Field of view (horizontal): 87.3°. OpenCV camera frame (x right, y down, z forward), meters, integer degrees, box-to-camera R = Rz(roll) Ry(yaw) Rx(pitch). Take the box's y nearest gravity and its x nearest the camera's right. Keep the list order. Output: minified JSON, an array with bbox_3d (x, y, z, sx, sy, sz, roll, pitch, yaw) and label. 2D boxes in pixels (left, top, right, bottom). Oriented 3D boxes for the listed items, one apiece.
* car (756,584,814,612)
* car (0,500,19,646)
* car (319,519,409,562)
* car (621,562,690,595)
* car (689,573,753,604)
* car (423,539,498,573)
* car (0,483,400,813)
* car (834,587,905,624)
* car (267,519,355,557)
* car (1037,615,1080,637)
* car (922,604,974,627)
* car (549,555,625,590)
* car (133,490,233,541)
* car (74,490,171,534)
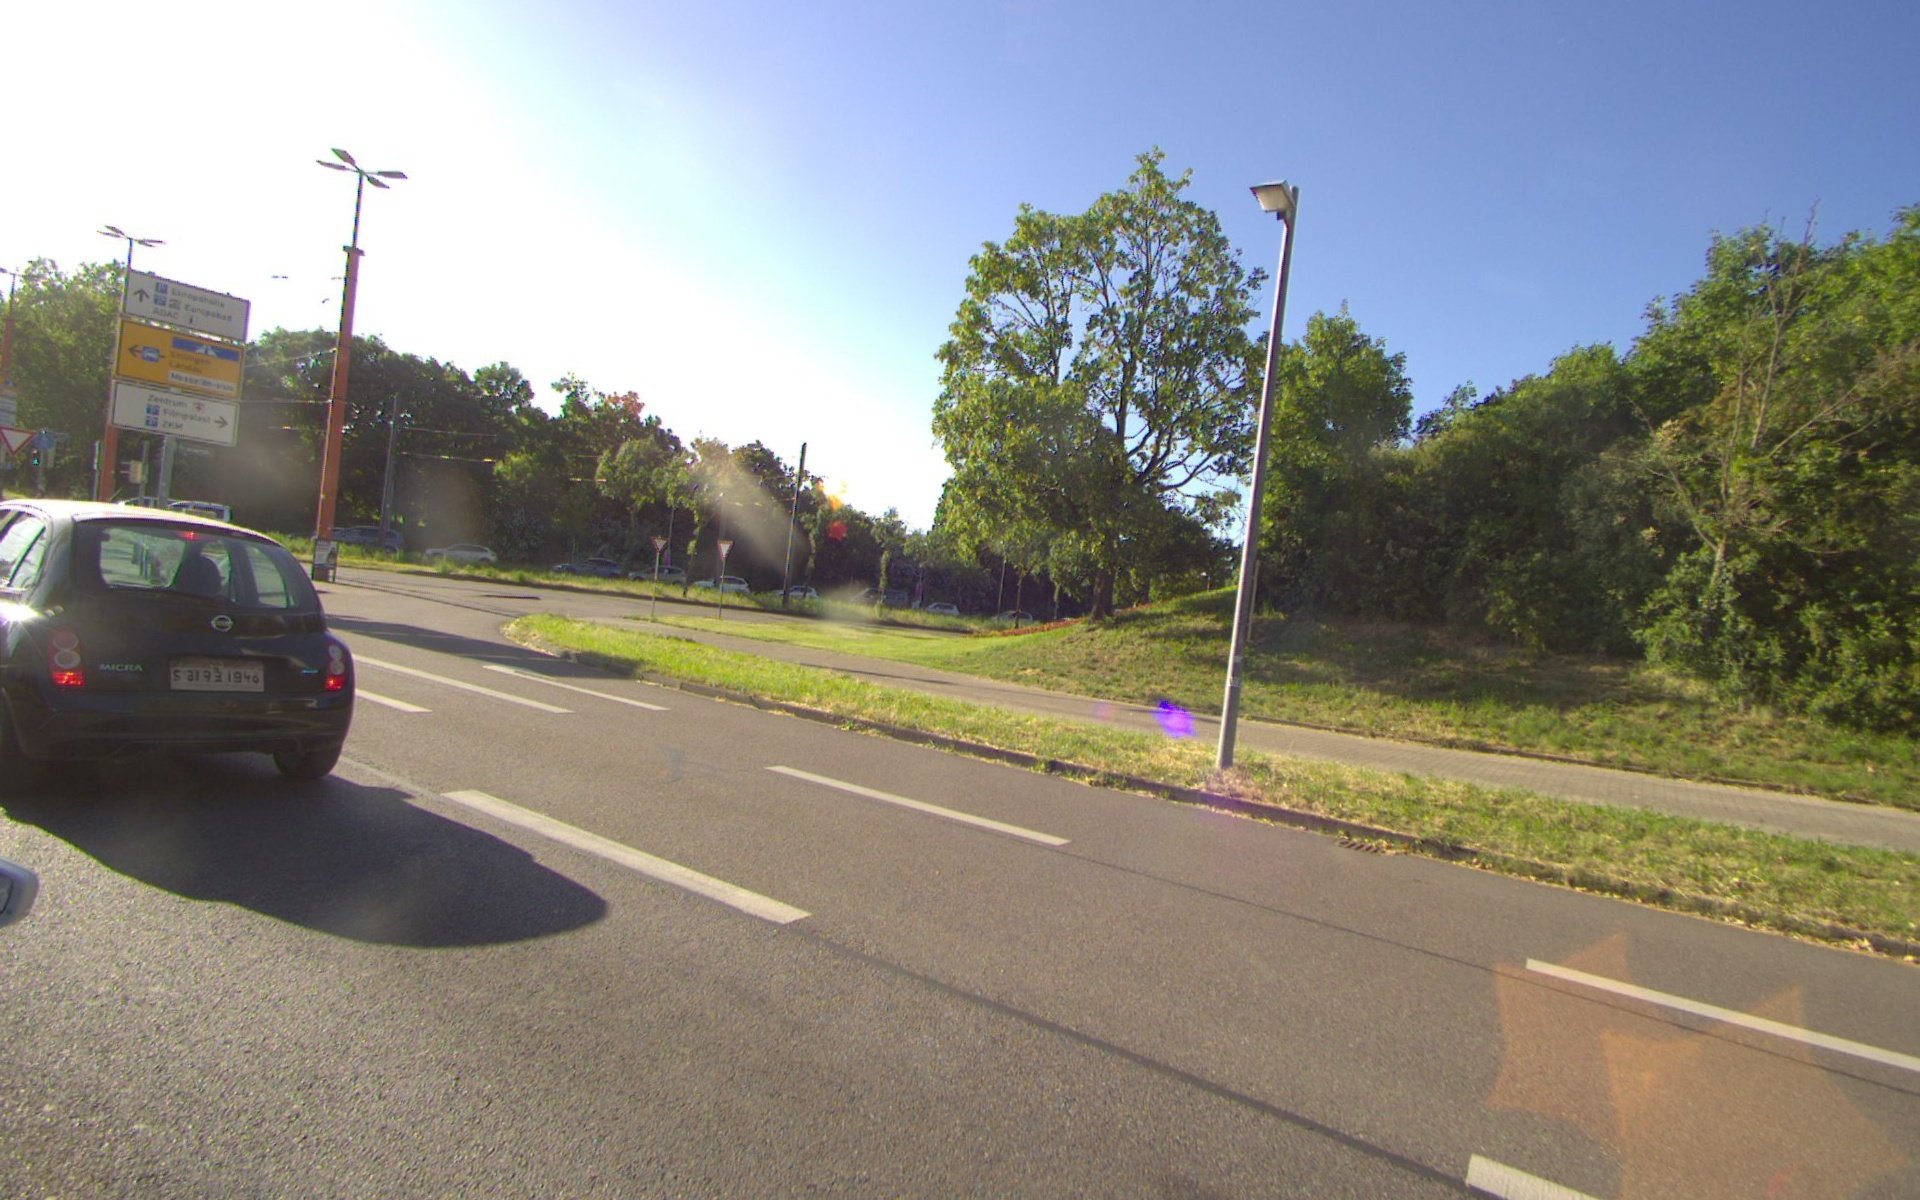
[{"bbox_3d":[-12.640,-0.152,72.730,3.708,1.491,1.588,8,-1,-31],"label":"car"},{"bbox_3d":[-10.894,-0.457,9.649,4.130,1.455,1.723,7,-1,34],"label":"car"},{"bbox_3d":[-33.468,-3.313,56.582,4.151,1.663,1.746,9,-2,-32],"label":"car"},{"bbox_3d":[-20.838,-1.472,68.832,4.087,1.663,1.839,8,-1,-29],"label":"car"},{"bbox_3d":[-16.015,-0.745,67.428,3.789,1.541,1.683,8,-1,-29],"label":"car"},{"bbox_3d":[-30.689,-2.701,61.774,3.935,1.458,1.674,9,-2,-30],"label":"car"},{"bbox_3d":[-5.389,0.140,6.321,3.555,1.518,1.656,7,-1,33],"label":"car"},{"bbox_3d":[-6.552,0.405,72.997,4.536,2.038,1.984,7,0,-30],"label":"car"},{"bbox_3d":[-37.311,-3.538,57.950,4.095,1.528,1.808,9,-2,-32],"label":"car"},{"bbox_3d":[8.363,2.230,85.076,3.412,1.384,1.280,9,-2,-31],"label":"car"},{"bbox_3d":[-0.949,1.241,80.106,3.804,1.278,1.590,9,-2,-32],"label":"car"},{"bbox_3d":[-23.308,-1.727,62.835,4.089,1.617,1.815,8,-1,-31],"label":"car"},{"bbox_3d":[-40.385,-4.372,52.378,3.811,1.911,1.748,9,-2,-34],"label":"car"},{"bbox_3d":[-44.504,-4.642,53.549,3.619,1.674,1.666,9,-2,-33],"label":"car"}]
